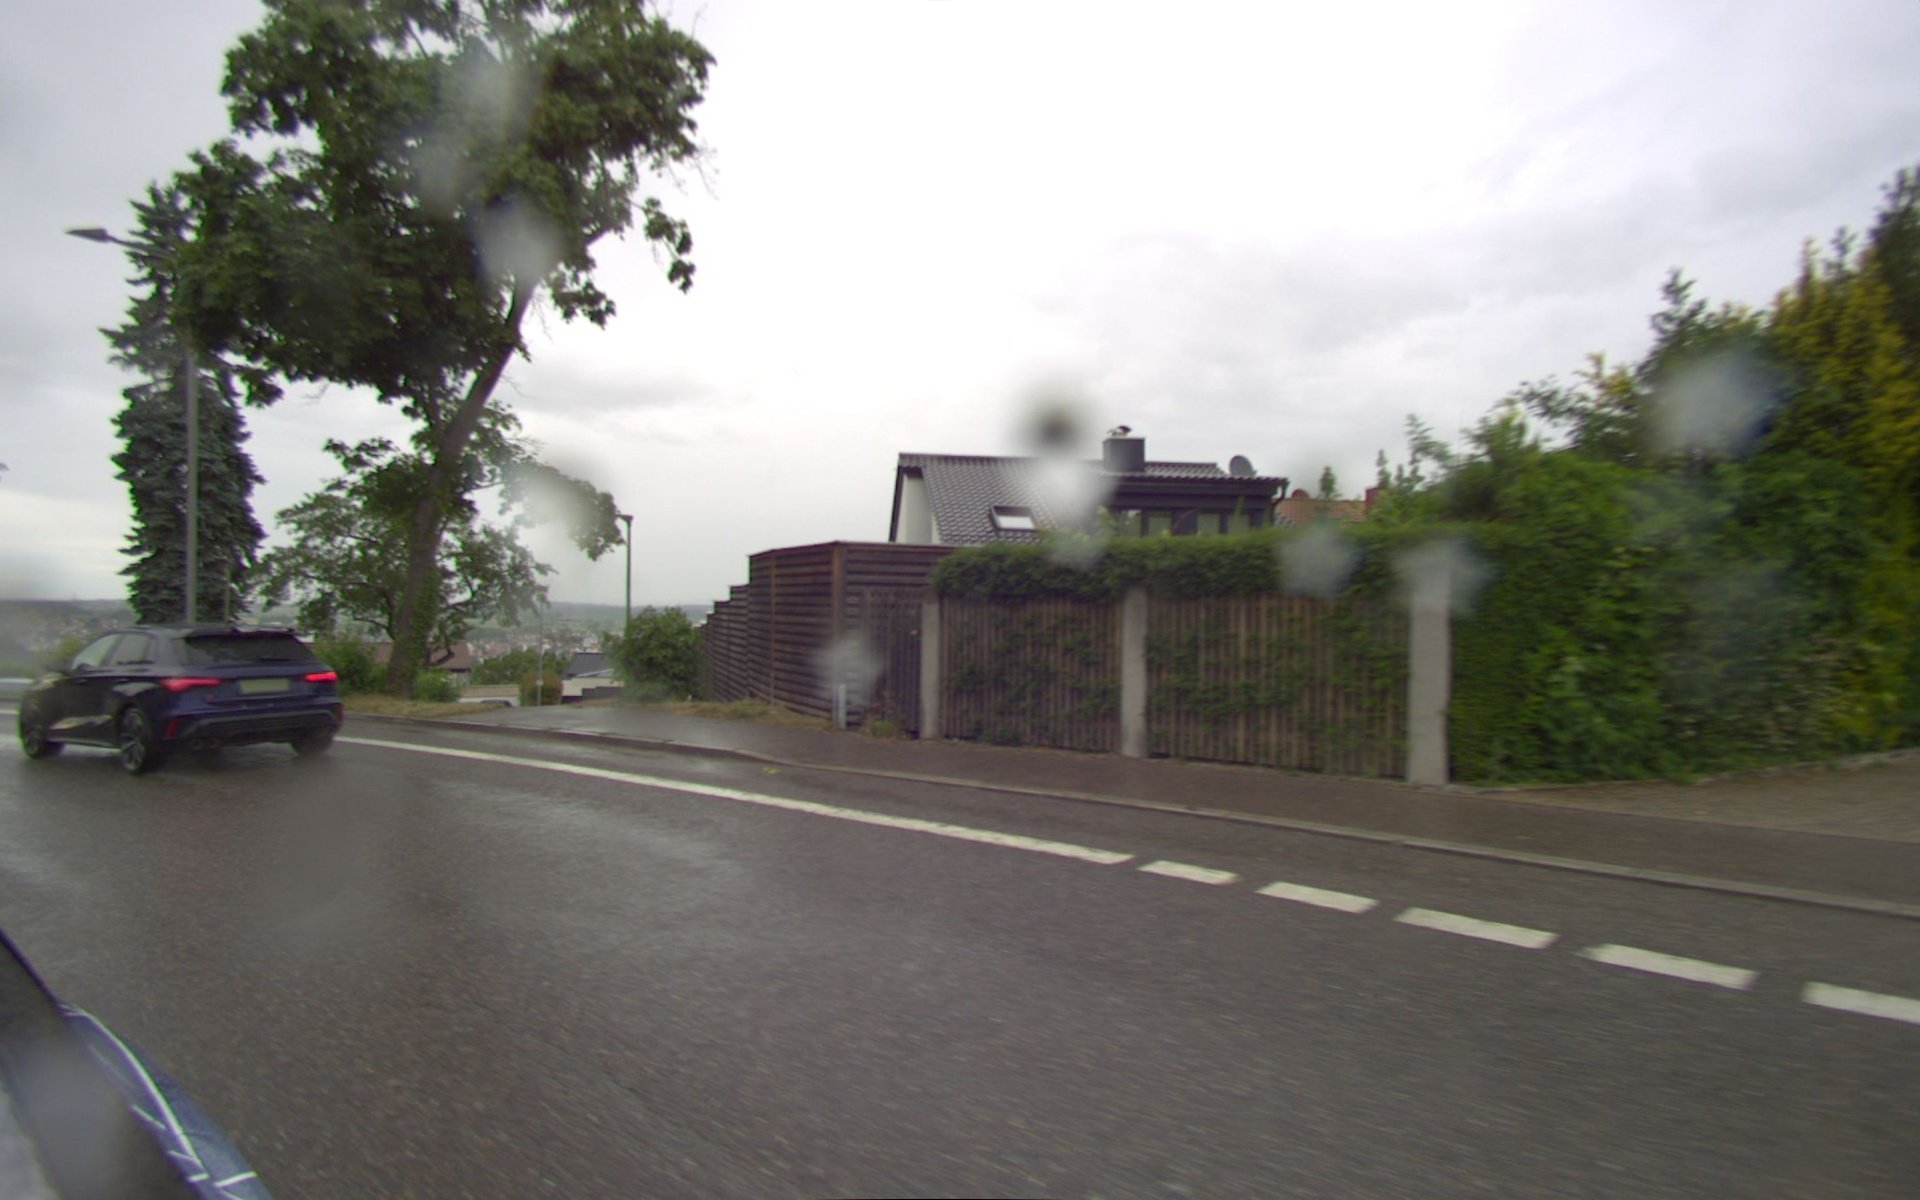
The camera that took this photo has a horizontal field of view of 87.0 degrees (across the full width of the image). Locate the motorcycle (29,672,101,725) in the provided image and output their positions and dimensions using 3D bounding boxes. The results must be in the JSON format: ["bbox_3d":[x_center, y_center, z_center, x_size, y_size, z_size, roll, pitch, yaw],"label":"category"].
[{"bbox_3d":[-35.179,3.823,39.861,1.197,1.275,3.888,-3,7,-28],"label":"motorcycle"}]

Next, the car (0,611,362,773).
[{"bbox_3d":[-8.447,0.879,10.859,4.150,1.431,1.764,-2,-1,31],"label":"car"}]

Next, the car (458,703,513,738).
[{"bbox_3d":[-21.941,5.540,46.945,1.852,1.367,4.012,-1,-4,-18],"label":"car"}]

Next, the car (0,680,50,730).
[{"bbox_3d":[-36.174,3.922,38.176,1.756,1.262,4.260,6,0,-29],"label":"car"}]
